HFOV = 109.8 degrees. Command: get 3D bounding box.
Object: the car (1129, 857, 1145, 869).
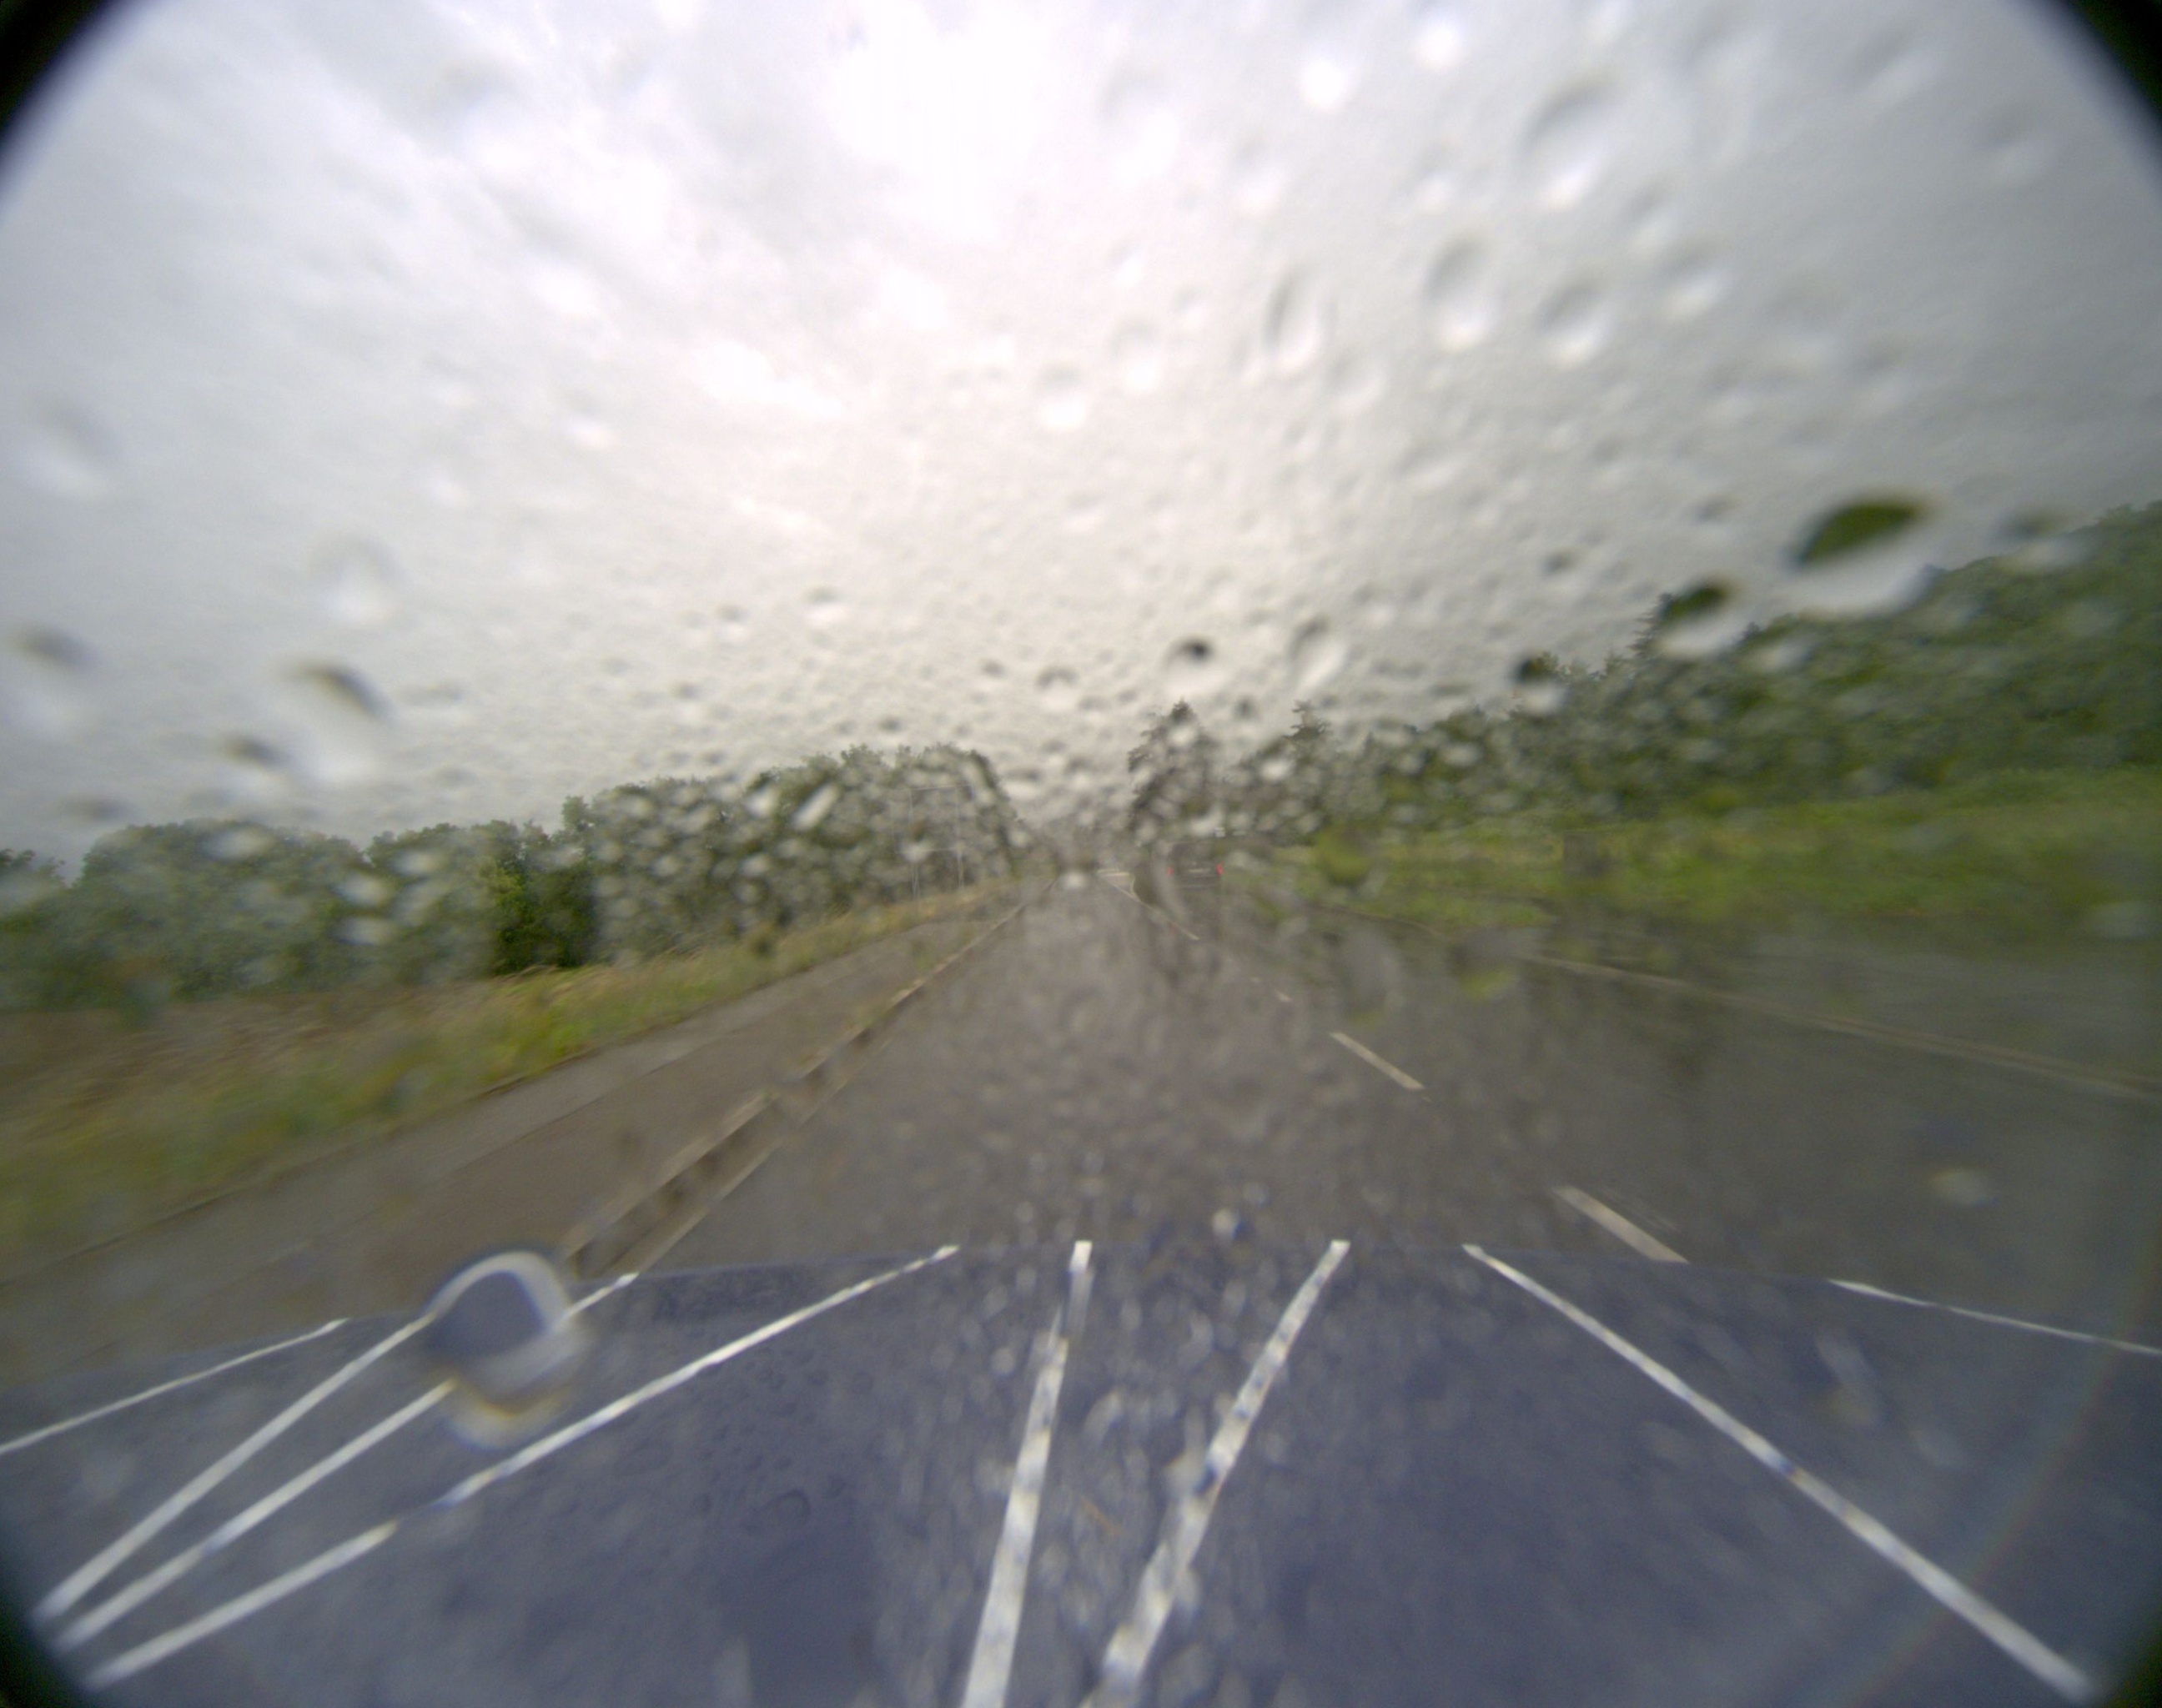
[{"bbox_3d":[6.545,1.069,89.477,1.540,1.237,4.000,-3,0,0],"label":"car"}]
